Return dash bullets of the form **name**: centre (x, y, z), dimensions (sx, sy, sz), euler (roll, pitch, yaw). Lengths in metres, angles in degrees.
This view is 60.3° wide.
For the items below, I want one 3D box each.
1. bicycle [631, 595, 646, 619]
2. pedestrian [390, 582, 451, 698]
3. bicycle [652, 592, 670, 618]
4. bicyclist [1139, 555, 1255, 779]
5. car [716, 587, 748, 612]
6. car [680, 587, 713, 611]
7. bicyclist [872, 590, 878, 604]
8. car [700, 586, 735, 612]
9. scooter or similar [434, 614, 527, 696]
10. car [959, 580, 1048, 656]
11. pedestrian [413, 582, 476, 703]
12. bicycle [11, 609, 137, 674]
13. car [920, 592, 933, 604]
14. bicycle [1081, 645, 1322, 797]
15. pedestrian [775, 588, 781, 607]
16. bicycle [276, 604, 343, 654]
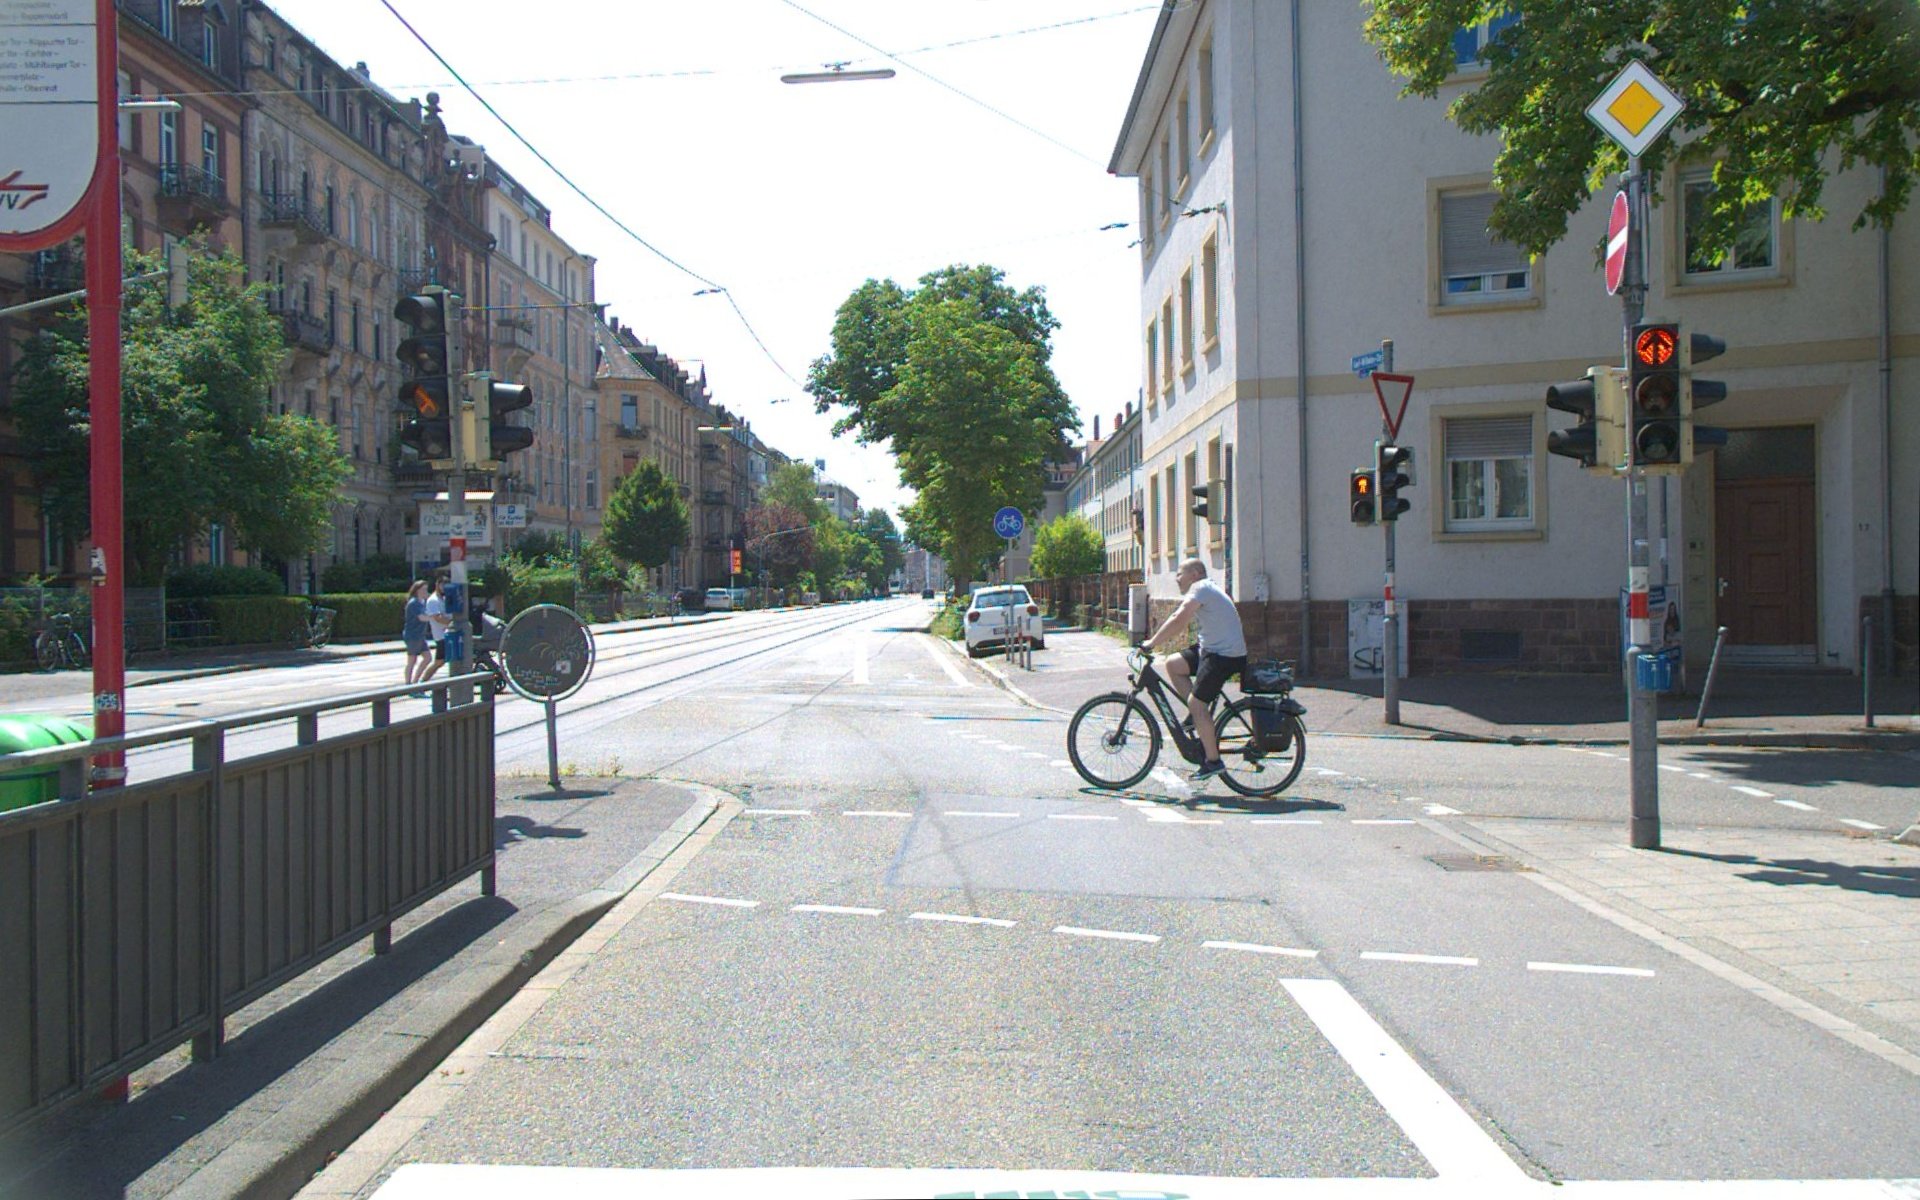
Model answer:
- **bicycle**: centre (-15.496, 0.330, 79.779), dimensions (0.665, 1.083, 1.913), euler (-1, 0, -12)
- **pedestrian**: centre (-7.928, 0.587, 24.330), dimensions (0.661, 1.674, 0.559), euler (1, -1, 4)
- **bicycle**: centre (-15.273, 0.244, 84.426), dimensions (0.664, 1.301, 1.917), euler (-1, 0, -4)
- **bicyclist**: centre (1.777, 0.487, 12.371), dimensions (0.828, 1.620, 0.700), euler (0, 0, 9)
- **car**: centre (-17.041, -0.031, 123.565), dimensions (1.880, 1.745, 3.999), euler (1, 0, -1)
- **car**: centre (-19.672, -0.076, 123.599), dimensions (1.880, 1.745, 3.999), euler (1, 0, -1)
- **bicyclist**: centre (-11.213, -0.407, 218.995), dimensions (0.712, 1.850, 1.079), euler (1, 0, 1)
- **car**: centre (-16.872, -0.062, 115.304), dimensions (1.880, 1.745, 3.999), euler (1, 0, -1)
- **scooter or similar**: centre (-7.026, 0.799, 24.267), dimensions (1.176, 1.175, 0.559), euler (1, -1, 4)
- **car**: centre (0.932, 0.395, 37.333), dimensions (1.778, 1.542, 3.999), euler (-3, 0, -1)
- **pedestrian**: centre (-7.277, 0.594, 23.346), dimensions (0.661, 1.674, 0.559), euler (1, -1, 4)
- **bicycle**: centre (-16.709, 0.757, 31.296), dimensions (0.918, 1.156, 2.773), euler (1, 0, -2)
- **car**: centre (-4.650, -0.272, 228.261), dimensions (1.788, 1.545, 3.999), euler (1, 0, -1)
- **bicycle**: centre (1.797, 0.882, 12.351), dimensions (1.723, 1.075, 0.700), euler (0, 0, 9)
- **pedestrian**: centre (-14.745, -0.199, 134.010), dimensions (0.398, 1.486, 0.436), euler (-1, 0, -1)
- **bicycle**: centre (-15.899, 0.696, 40.503), dimensions (0.920, 1.156, 2.767), euler (1, 0, -9)
